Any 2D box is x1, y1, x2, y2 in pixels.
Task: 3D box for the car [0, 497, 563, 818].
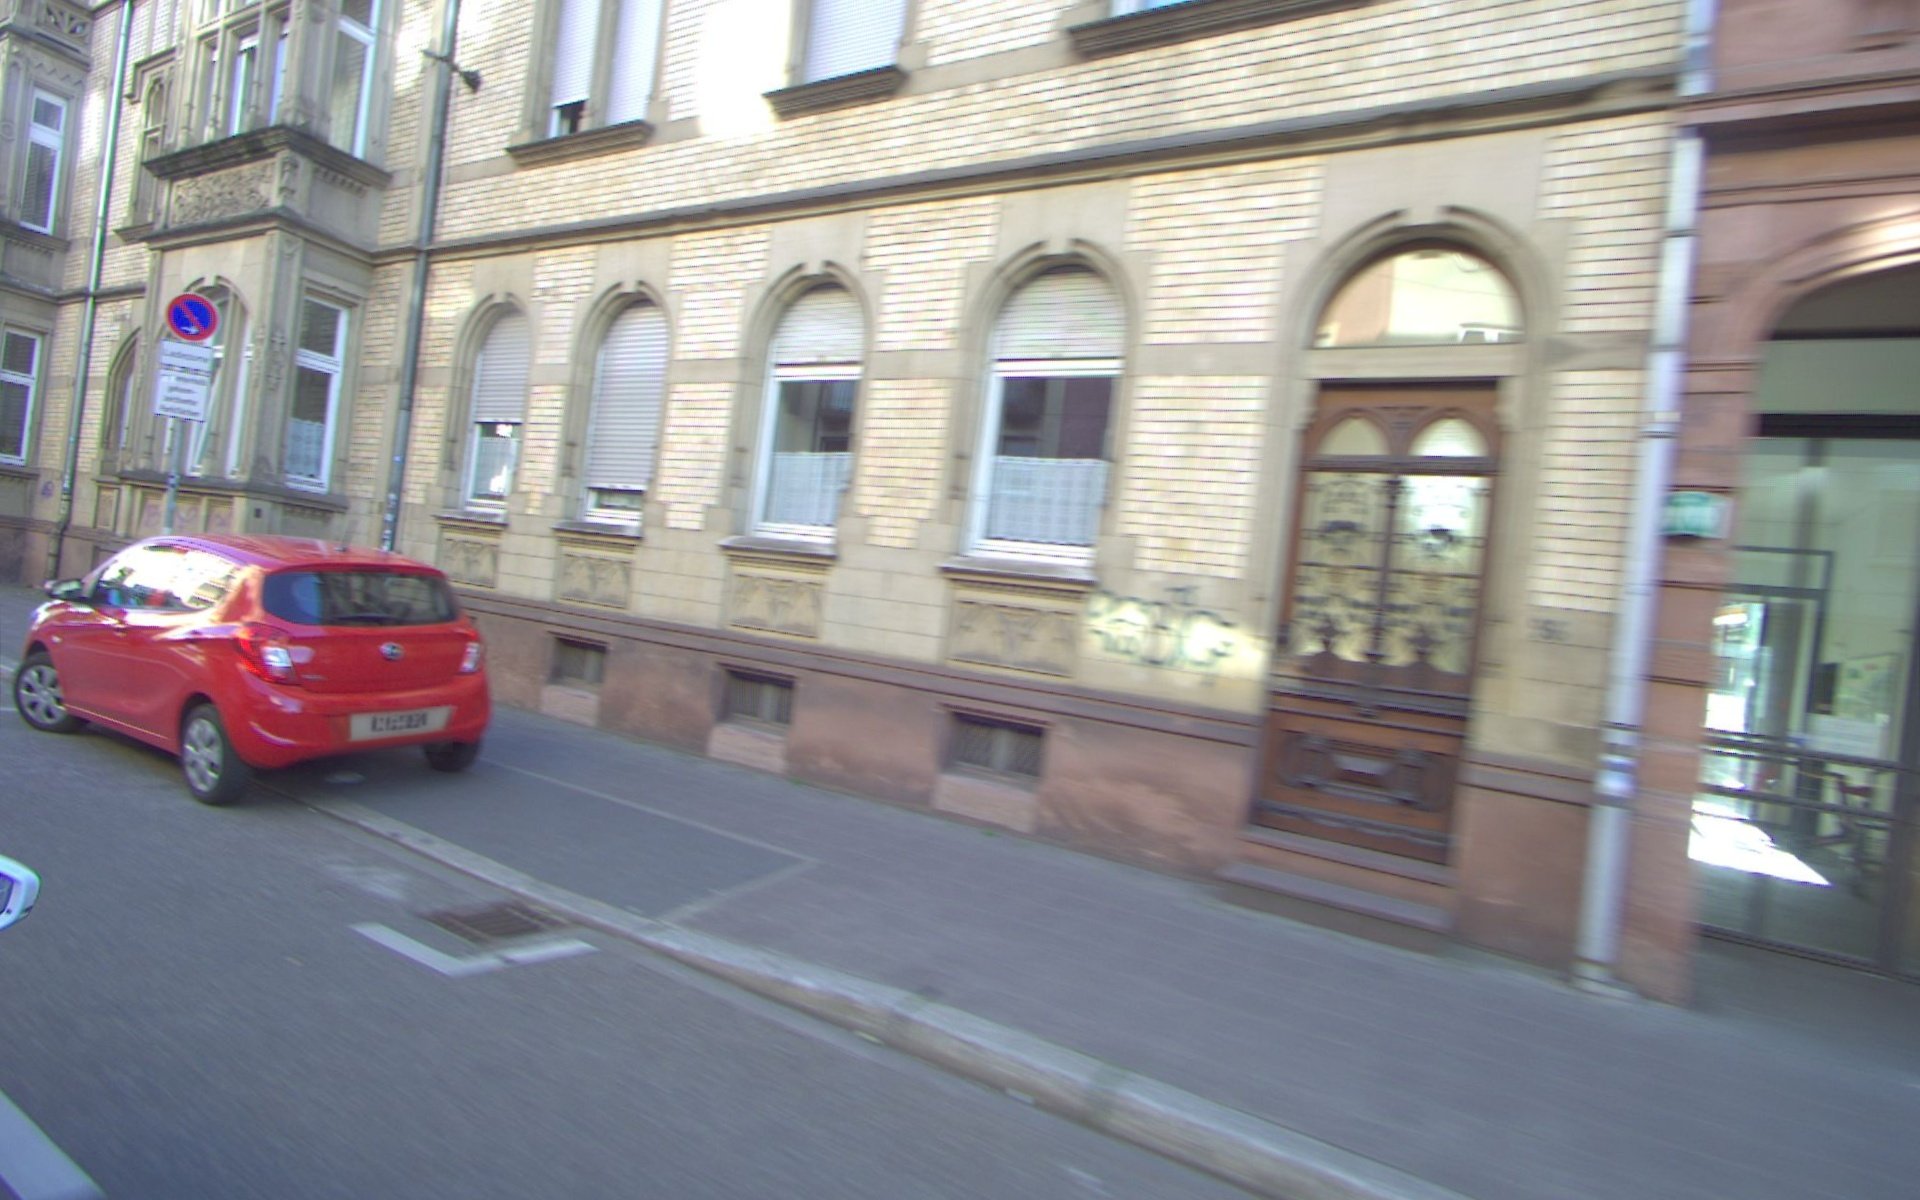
[{"bbox_3d":[-5.042,0.206,7.085,4.327,1.502,1.866,6,2,31],"label":"car"}]
